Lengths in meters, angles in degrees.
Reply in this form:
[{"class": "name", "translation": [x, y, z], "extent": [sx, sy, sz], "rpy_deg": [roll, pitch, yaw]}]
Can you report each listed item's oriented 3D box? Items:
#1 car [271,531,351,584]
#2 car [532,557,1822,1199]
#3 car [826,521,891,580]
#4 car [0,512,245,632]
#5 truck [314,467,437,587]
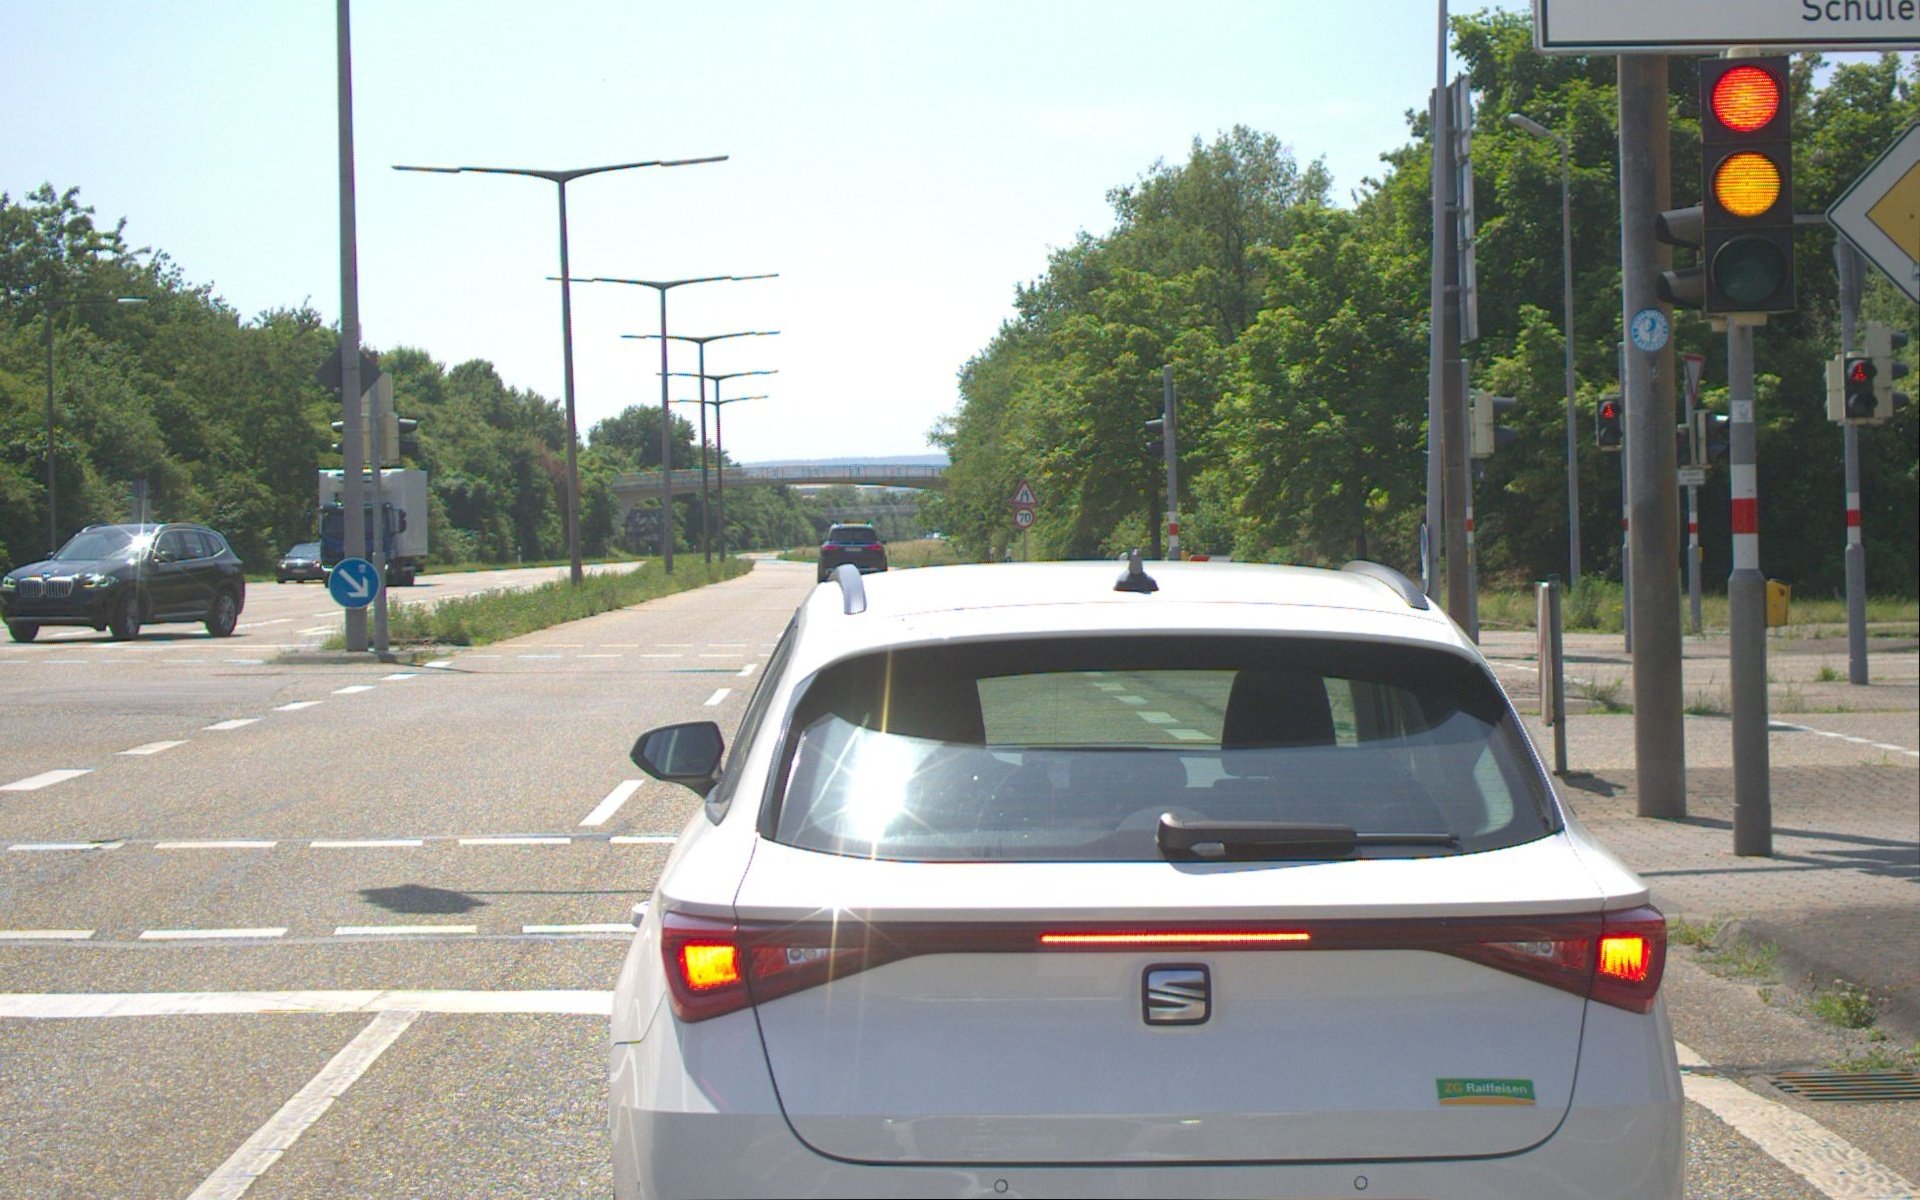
[{"class": "car", "translation": [-22.014, -1.463, 116.773], "extent": [1.822, 1.726, 4.926], "rpy_deg": [-1, 1, -1]}, {"class": "car", "translation": [0.269, 0.647, 6.500], "extent": [1.734, 1.423, 3.695], "rpy_deg": [1, 1, -1]}, {"class": "car", "translation": [-3.015, -1.504, 103.227], "extent": [1.855, 1.703, 4.000], "rpy_deg": [-1, 1, -1]}, {"class": "car", "translation": [-12.207, -0.439, 50.236], "extent": [1.708, 1.657, 4.220], "rpy_deg": [-1, 1, 15]}, {"class": "truck", "translation": [-17.961, -2.256, 106.034], "extent": [2.687, 3.558, 7.268], "rpy_deg": [0, 1, -1]}]
